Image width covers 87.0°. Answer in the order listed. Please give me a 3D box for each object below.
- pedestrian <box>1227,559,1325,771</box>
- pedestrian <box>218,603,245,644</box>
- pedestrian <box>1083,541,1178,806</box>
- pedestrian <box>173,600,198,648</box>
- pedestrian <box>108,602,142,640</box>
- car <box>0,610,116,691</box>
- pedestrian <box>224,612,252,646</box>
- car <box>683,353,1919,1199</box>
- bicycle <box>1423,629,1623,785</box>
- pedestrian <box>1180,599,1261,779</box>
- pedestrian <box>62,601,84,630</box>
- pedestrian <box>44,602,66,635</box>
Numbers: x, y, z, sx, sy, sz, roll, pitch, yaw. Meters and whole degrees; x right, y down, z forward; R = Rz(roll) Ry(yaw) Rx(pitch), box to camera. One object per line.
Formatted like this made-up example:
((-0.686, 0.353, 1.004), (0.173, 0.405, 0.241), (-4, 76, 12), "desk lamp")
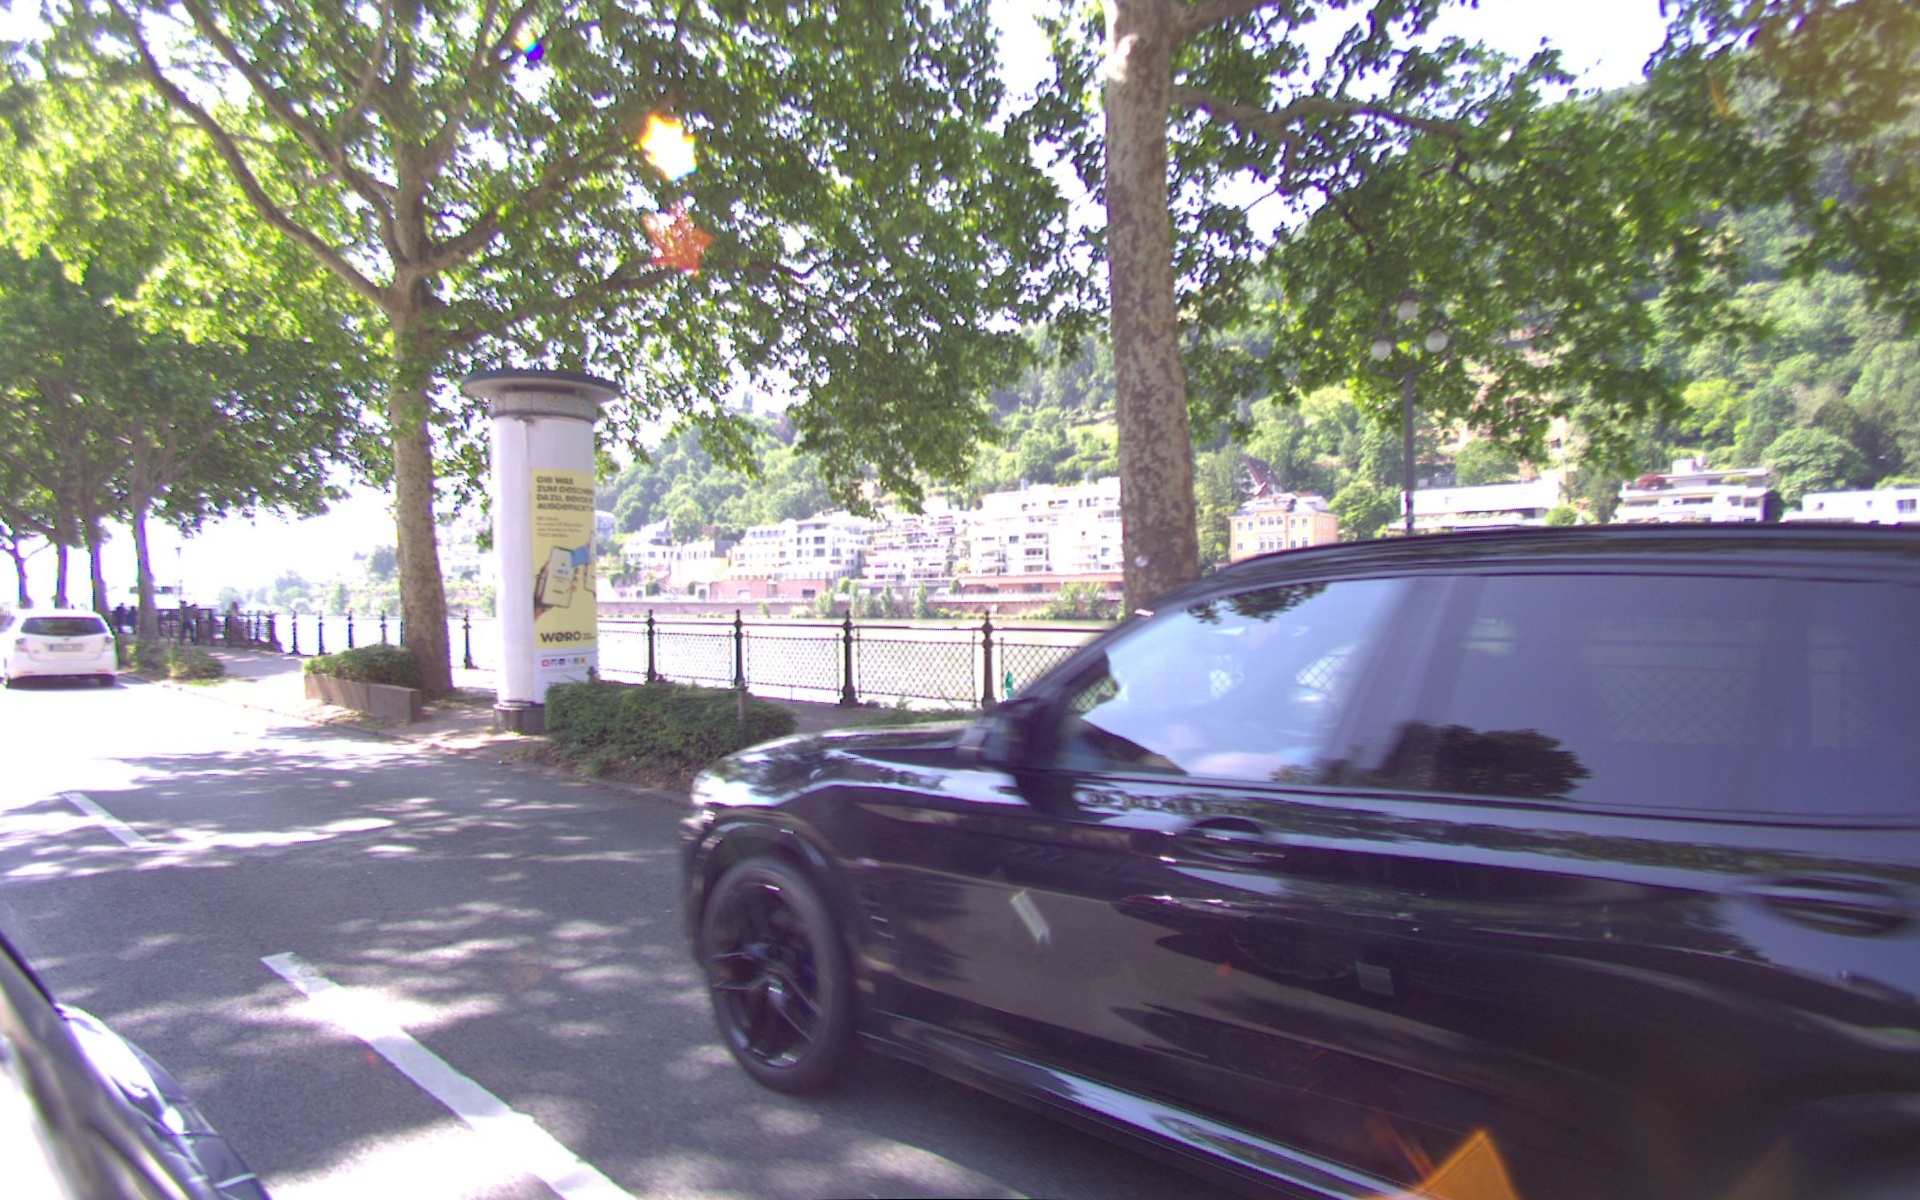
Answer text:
((2.662, 0.522, 8.532), (0.583, 1.698, 0.595), (-1, 0, 40), "pedestrian")
((-31.817, 1.016, 44.190), (0.830, 1.771, 0.767), (-1, -1, 41), "pedestrian")
((1.280, 0.521, 7.586), (0.436, 1.901, 0.529), (-1, 2, 41), "pedestrian")
((-31.223, 0.957, 40.806), (0.756, 1.915, 0.772), (0, -1, -41), "pedestrian")
((-46.107, 1.131, 55.894), (1.032, 2.028, 1.038), (-2, 2, -18), "pedestrian")
((-19.736, 1.034, 21.854), (4.090, 1.584, 1.720), (-1, -2, 42), "car")
((-29.407, 1.170, 41.199), (0.770, 1.398, 0.758), (-1, -1, 41), "pedestrian")
((1.386, 0.603, 2.480), (4.420, 1.738, 1.793), (-1, -5, 42), "car")
((4.373, 0.794, 7.905), (1.295, 1.099, 0.355), (-1, 3, 41), "bicycle")
((2.090, 0.692, 8.117), (0.473, 1.373, 0.417), (-2, 1, -44), "pedestrian")
((-52.379, 0.879, 59.764), (0.885, 1.646, 1.060), (-3, 2, -43), "pedestrian")
((-52.591, 1.039, 58.808), (0.929, 1.863, 0.796), (0, 2, 41), "pedestrian")
